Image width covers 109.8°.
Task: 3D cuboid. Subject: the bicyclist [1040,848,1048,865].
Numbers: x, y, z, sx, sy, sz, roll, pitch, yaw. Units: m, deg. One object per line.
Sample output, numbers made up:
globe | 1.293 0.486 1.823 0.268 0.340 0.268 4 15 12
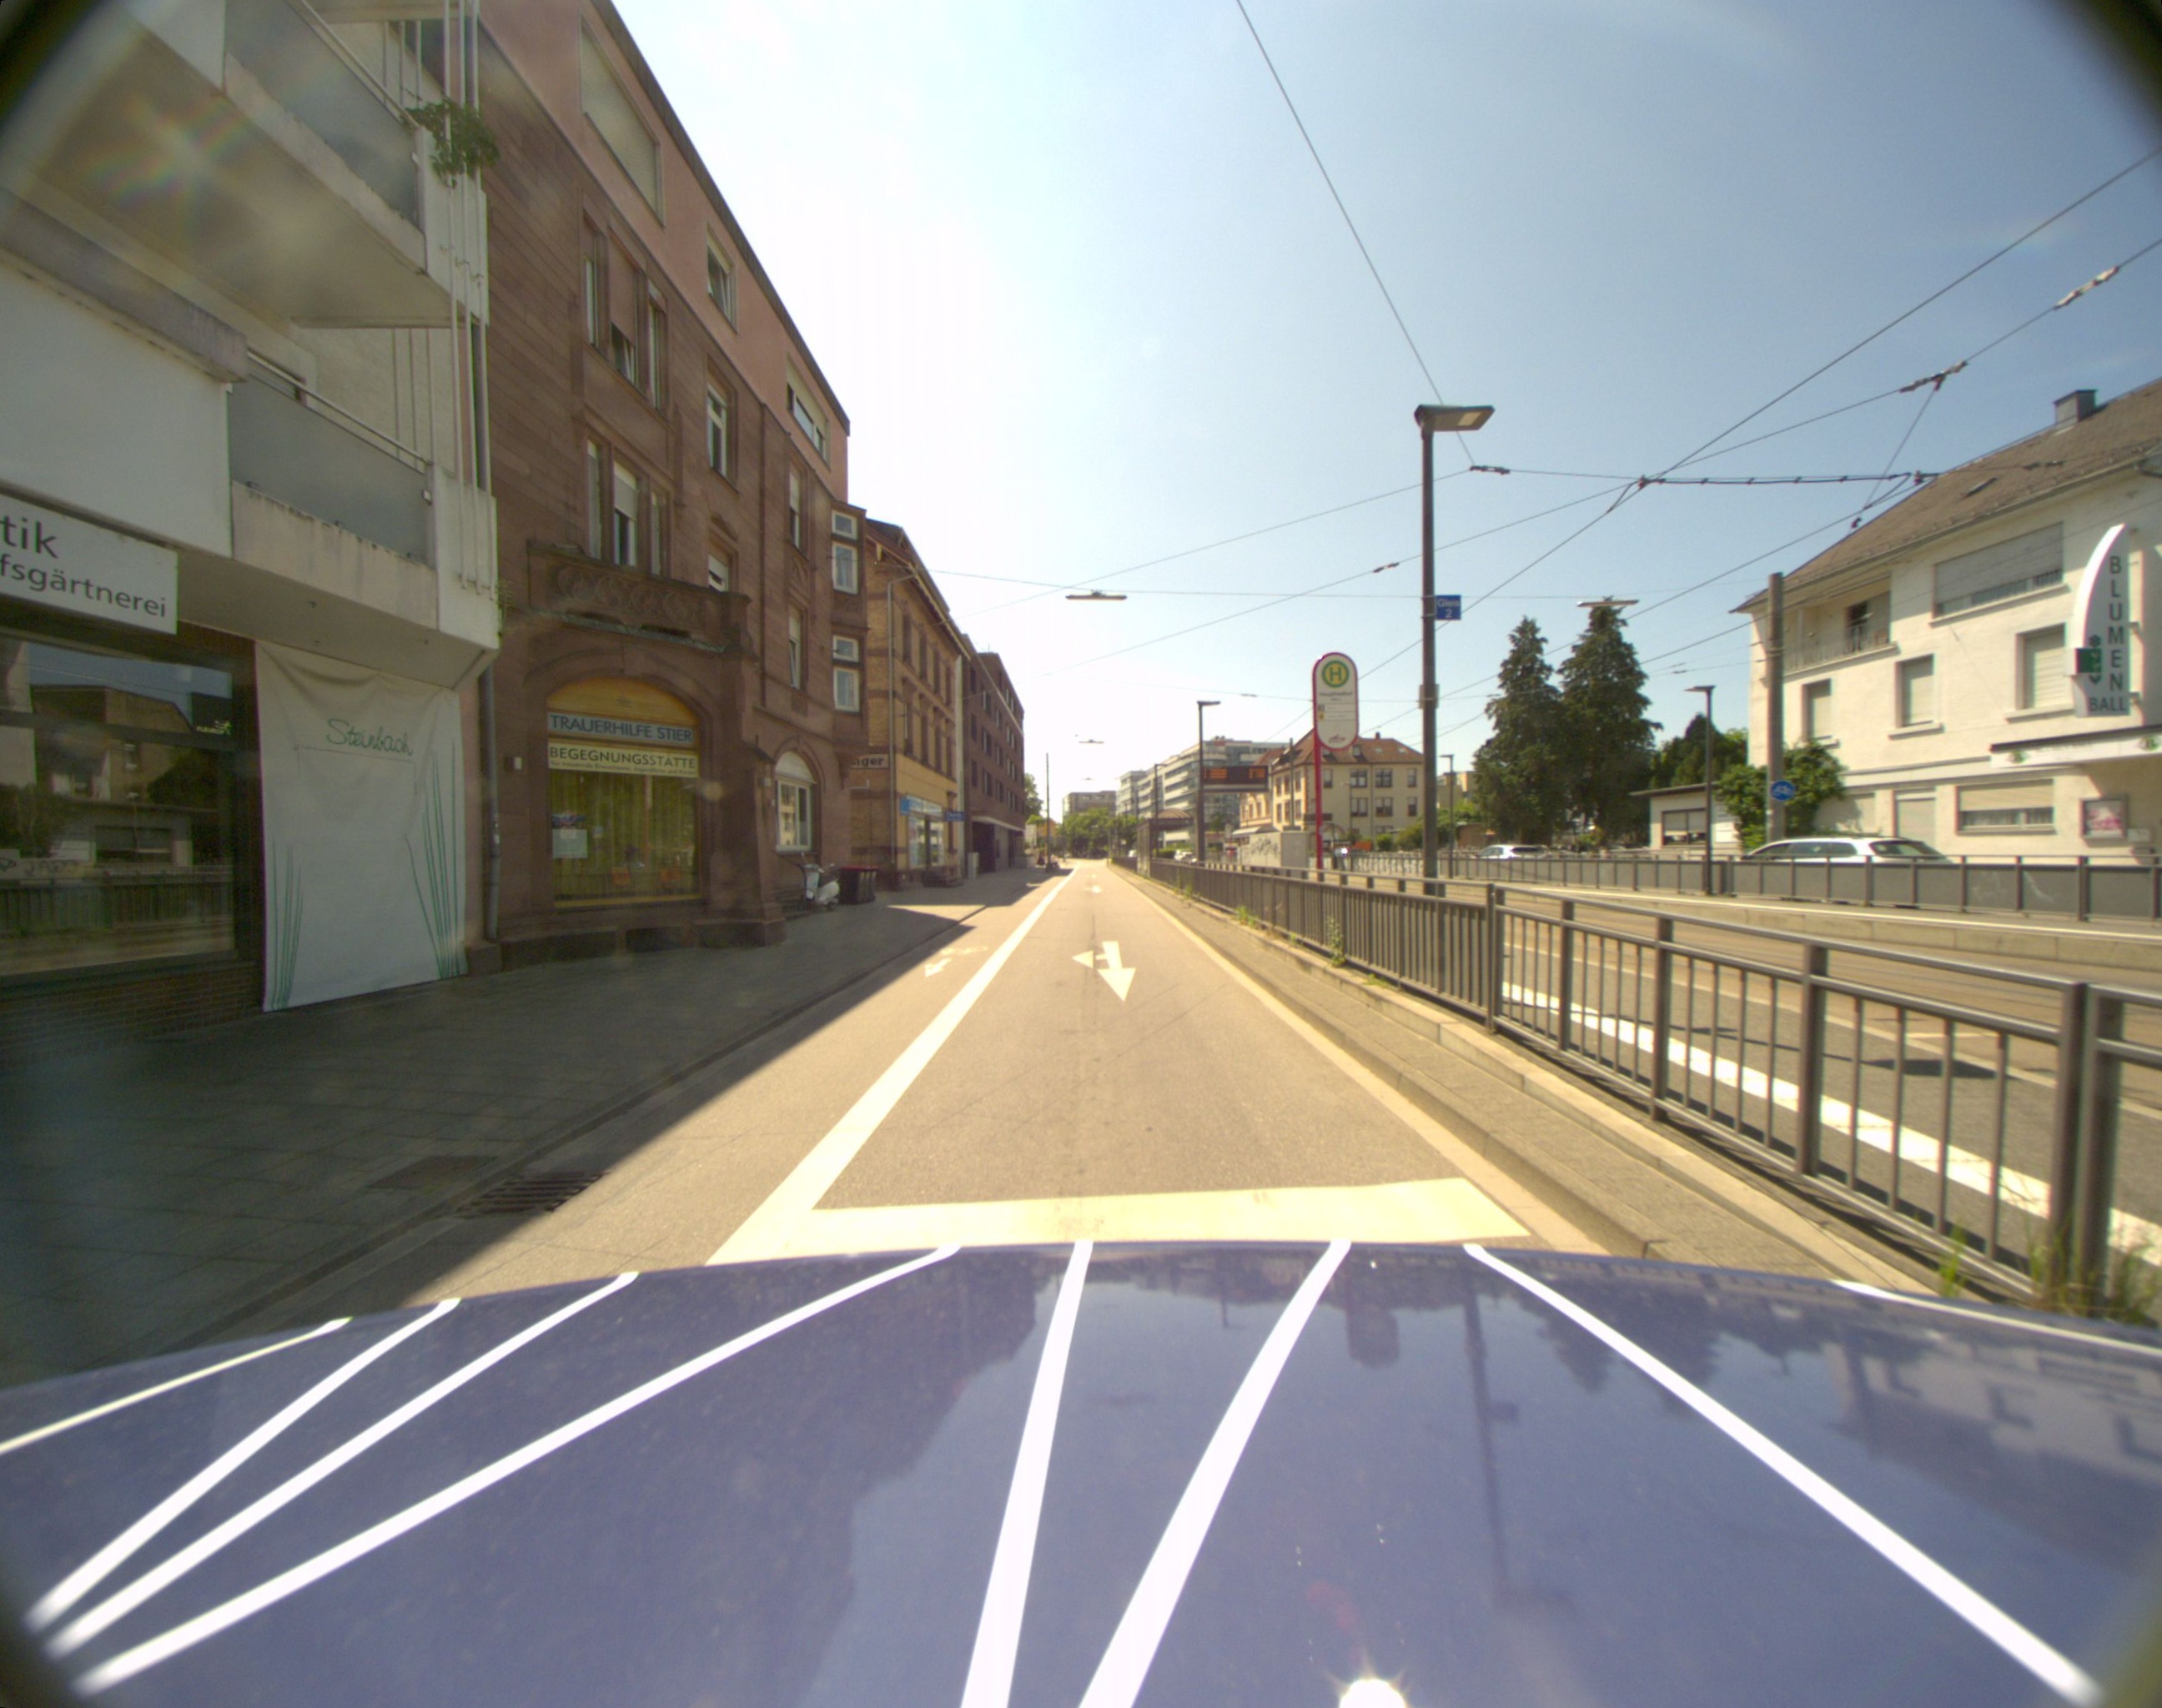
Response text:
bicyclist | -3.769 0.235 76.873 0.671 1.712 0.928 -1 1 4

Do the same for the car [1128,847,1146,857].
car | 9.682 -0.340 132.410 1.862 1.806 4.693 -1 1 -11

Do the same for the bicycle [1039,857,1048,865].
bicycle | -3.768 0.707 76.808 0.689 0.793 1.908 -1 1 3

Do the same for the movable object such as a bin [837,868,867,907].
movable object such as a bin | -6.343 0.919 21.080 0.649 1.042 0.559 1 1 1

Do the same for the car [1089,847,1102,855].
car | 3.282 -0.700 174.540 2.000 1.827 3.995 -1 1 -12

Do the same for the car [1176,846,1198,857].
car | 14.503 -0.391 103.849 1.824 1.459 4.620 -1 0 -7

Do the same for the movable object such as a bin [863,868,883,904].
movable object such as a bin | -6.108 0.934 22.313 0.376 1.042 0.657 1 1 1

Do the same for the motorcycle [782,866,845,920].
motorcycle | -6.206 0.879 17.745 0.527 1.142 1.881 -1 1 9

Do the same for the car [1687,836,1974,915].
car | 16.167 0.395 16.815 1.823 1.481 4.498 1 1 -1

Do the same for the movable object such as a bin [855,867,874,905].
movable object such as a bin | -6.171 0.916 21.665 0.376 1.042 0.559 1 1 1

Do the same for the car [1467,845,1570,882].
car | 17.114 0.325 29.970 1.822 1.355 4.051 0 1 2
